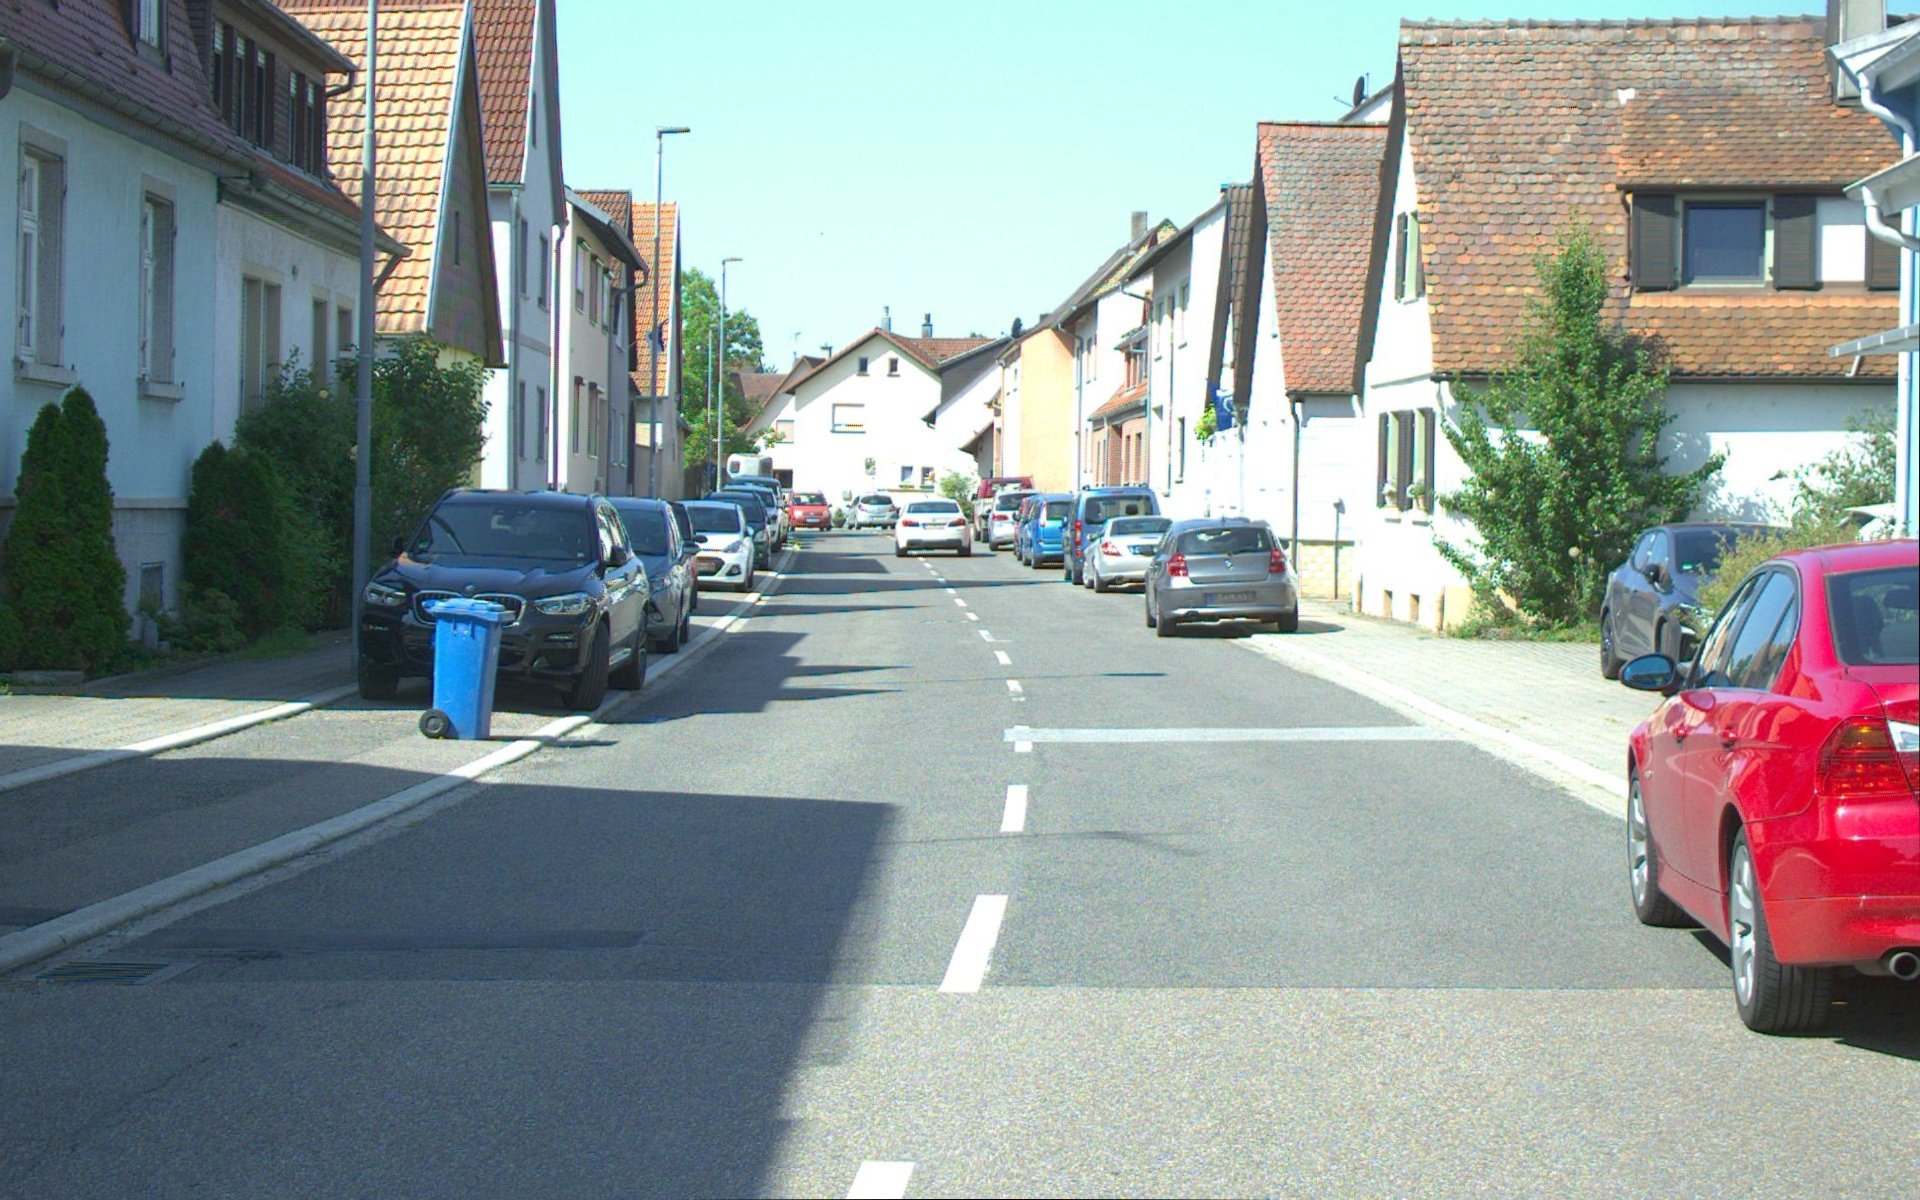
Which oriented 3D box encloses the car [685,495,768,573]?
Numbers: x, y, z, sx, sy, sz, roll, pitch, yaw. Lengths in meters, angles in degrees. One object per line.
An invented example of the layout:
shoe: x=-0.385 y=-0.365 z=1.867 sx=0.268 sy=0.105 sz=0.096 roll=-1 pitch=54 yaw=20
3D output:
car: x=-4.941 y=-1.425 z=73.047 sx=1.619 sy=1.572 sz=3.962 roll=1 pitch=2 yaw=-2

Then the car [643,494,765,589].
car: x=-4.392 y=-1.038 z=59.442 sx=1.806 sy=1.542 sz=4.404 roll=1 pitch=2 yaw=-1

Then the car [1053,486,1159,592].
car: x=2.711 y=-1.171 z=64.553 sx=1.649 sy=1.903 sz=3.626 roll=1 pitch=2 yaw=-2

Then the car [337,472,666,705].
car: x=-3.638 y=-0.145 z=28.111 sx=1.920 sy=1.662 sz=4.665 roll=3 pitch=1 yaw=1

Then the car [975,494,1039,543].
car: x=1.367 y=-2.406 z=101.229 sx=1.767 sy=1.428 sz=3.450 roll=0 pitch=1 yaw=-1

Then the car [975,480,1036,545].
car: x=1.386 y=-2.706 z=106.324 sx=1.767 sy=1.997 sz=3.450 roll=0 pitch=1 yaw=-1

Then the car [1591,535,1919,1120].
car: x=3.128 y=0.549 z=11.041 sx=1.733 sy=1.489 sz=4.354 roll=-1 pitch=1 yaw=5

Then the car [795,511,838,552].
car: x=-5.476 y=-2.616 z=131.378 sx=1.601 sy=1.484 sz=3.626 roll=1 pitch=2 yaw=-2

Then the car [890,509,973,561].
car: x=-0.737 y=-1.656 z=86.904 sx=1.993 sy=1.284 sz=4.001 roll=0 pitch=1 yaw=-2

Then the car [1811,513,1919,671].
car: x=11.363 y=-0.100 z=36.717 sx=4.175 sy=1.652 sz=1.812 roll=0 pitch=1 yaw=5

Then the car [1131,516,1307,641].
car: x=3.186 y=-0.302 z=42.936 sx=1.704 sy=1.428 sz=3.890 roll=2 pitch=2 yaw=-2

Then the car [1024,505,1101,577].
car: x=2.236 y=-1.308 z=75.639 sx=1.420 sy=1.510 sz=3.304 roll=1 pitch=2 yaw=-2

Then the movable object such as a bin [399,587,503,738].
movable object such as a bin: x=-3.410 y=0.413 z=23.061 sx=0.596 sy=0.979 sz=0.531 roll=2 pitch=1 yaw=0

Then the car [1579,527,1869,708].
car: x=6.521 y=0.095 z=29.733 sx=1.690 sy=1.415 sz=4.145 roll=1 pitch=1 yaw=2

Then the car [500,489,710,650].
car: x=-3.864 y=-0.387 z=38.112 sx=1.873 sy=1.631 sz=4.664 roll=1 pitch=2 yaw=-1

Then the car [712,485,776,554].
car: x=-5.577 y=-2.088 z=89.048 sx=1.527 sy=1.707 sz=3.626 roll=1 pitch=2 yaw=-2

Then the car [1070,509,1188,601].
car: x=2.907 y=-0.803 z=59.695 sx=1.704 sy=1.491 sz=3.453 roll=1 pitch=2 yaw=-2

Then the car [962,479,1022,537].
car: x=0.858 y=-2.502 z=93.220 sx=1.420 sy=1.510 sz=3.304 roll=1 pitch=2 yaw=-2

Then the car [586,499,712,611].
car: x=-4.455 y=-0.673 z=49.508 sx=1.552 sy=1.539 sz=2.988 roll=1 pitch=2 yaw=-1

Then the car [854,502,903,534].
car: x=-3.364 y=-3.368 z=141.614 sx=1.993 sy=1.284 sz=3.804 roll=0 pitch=1 yaw=-2
